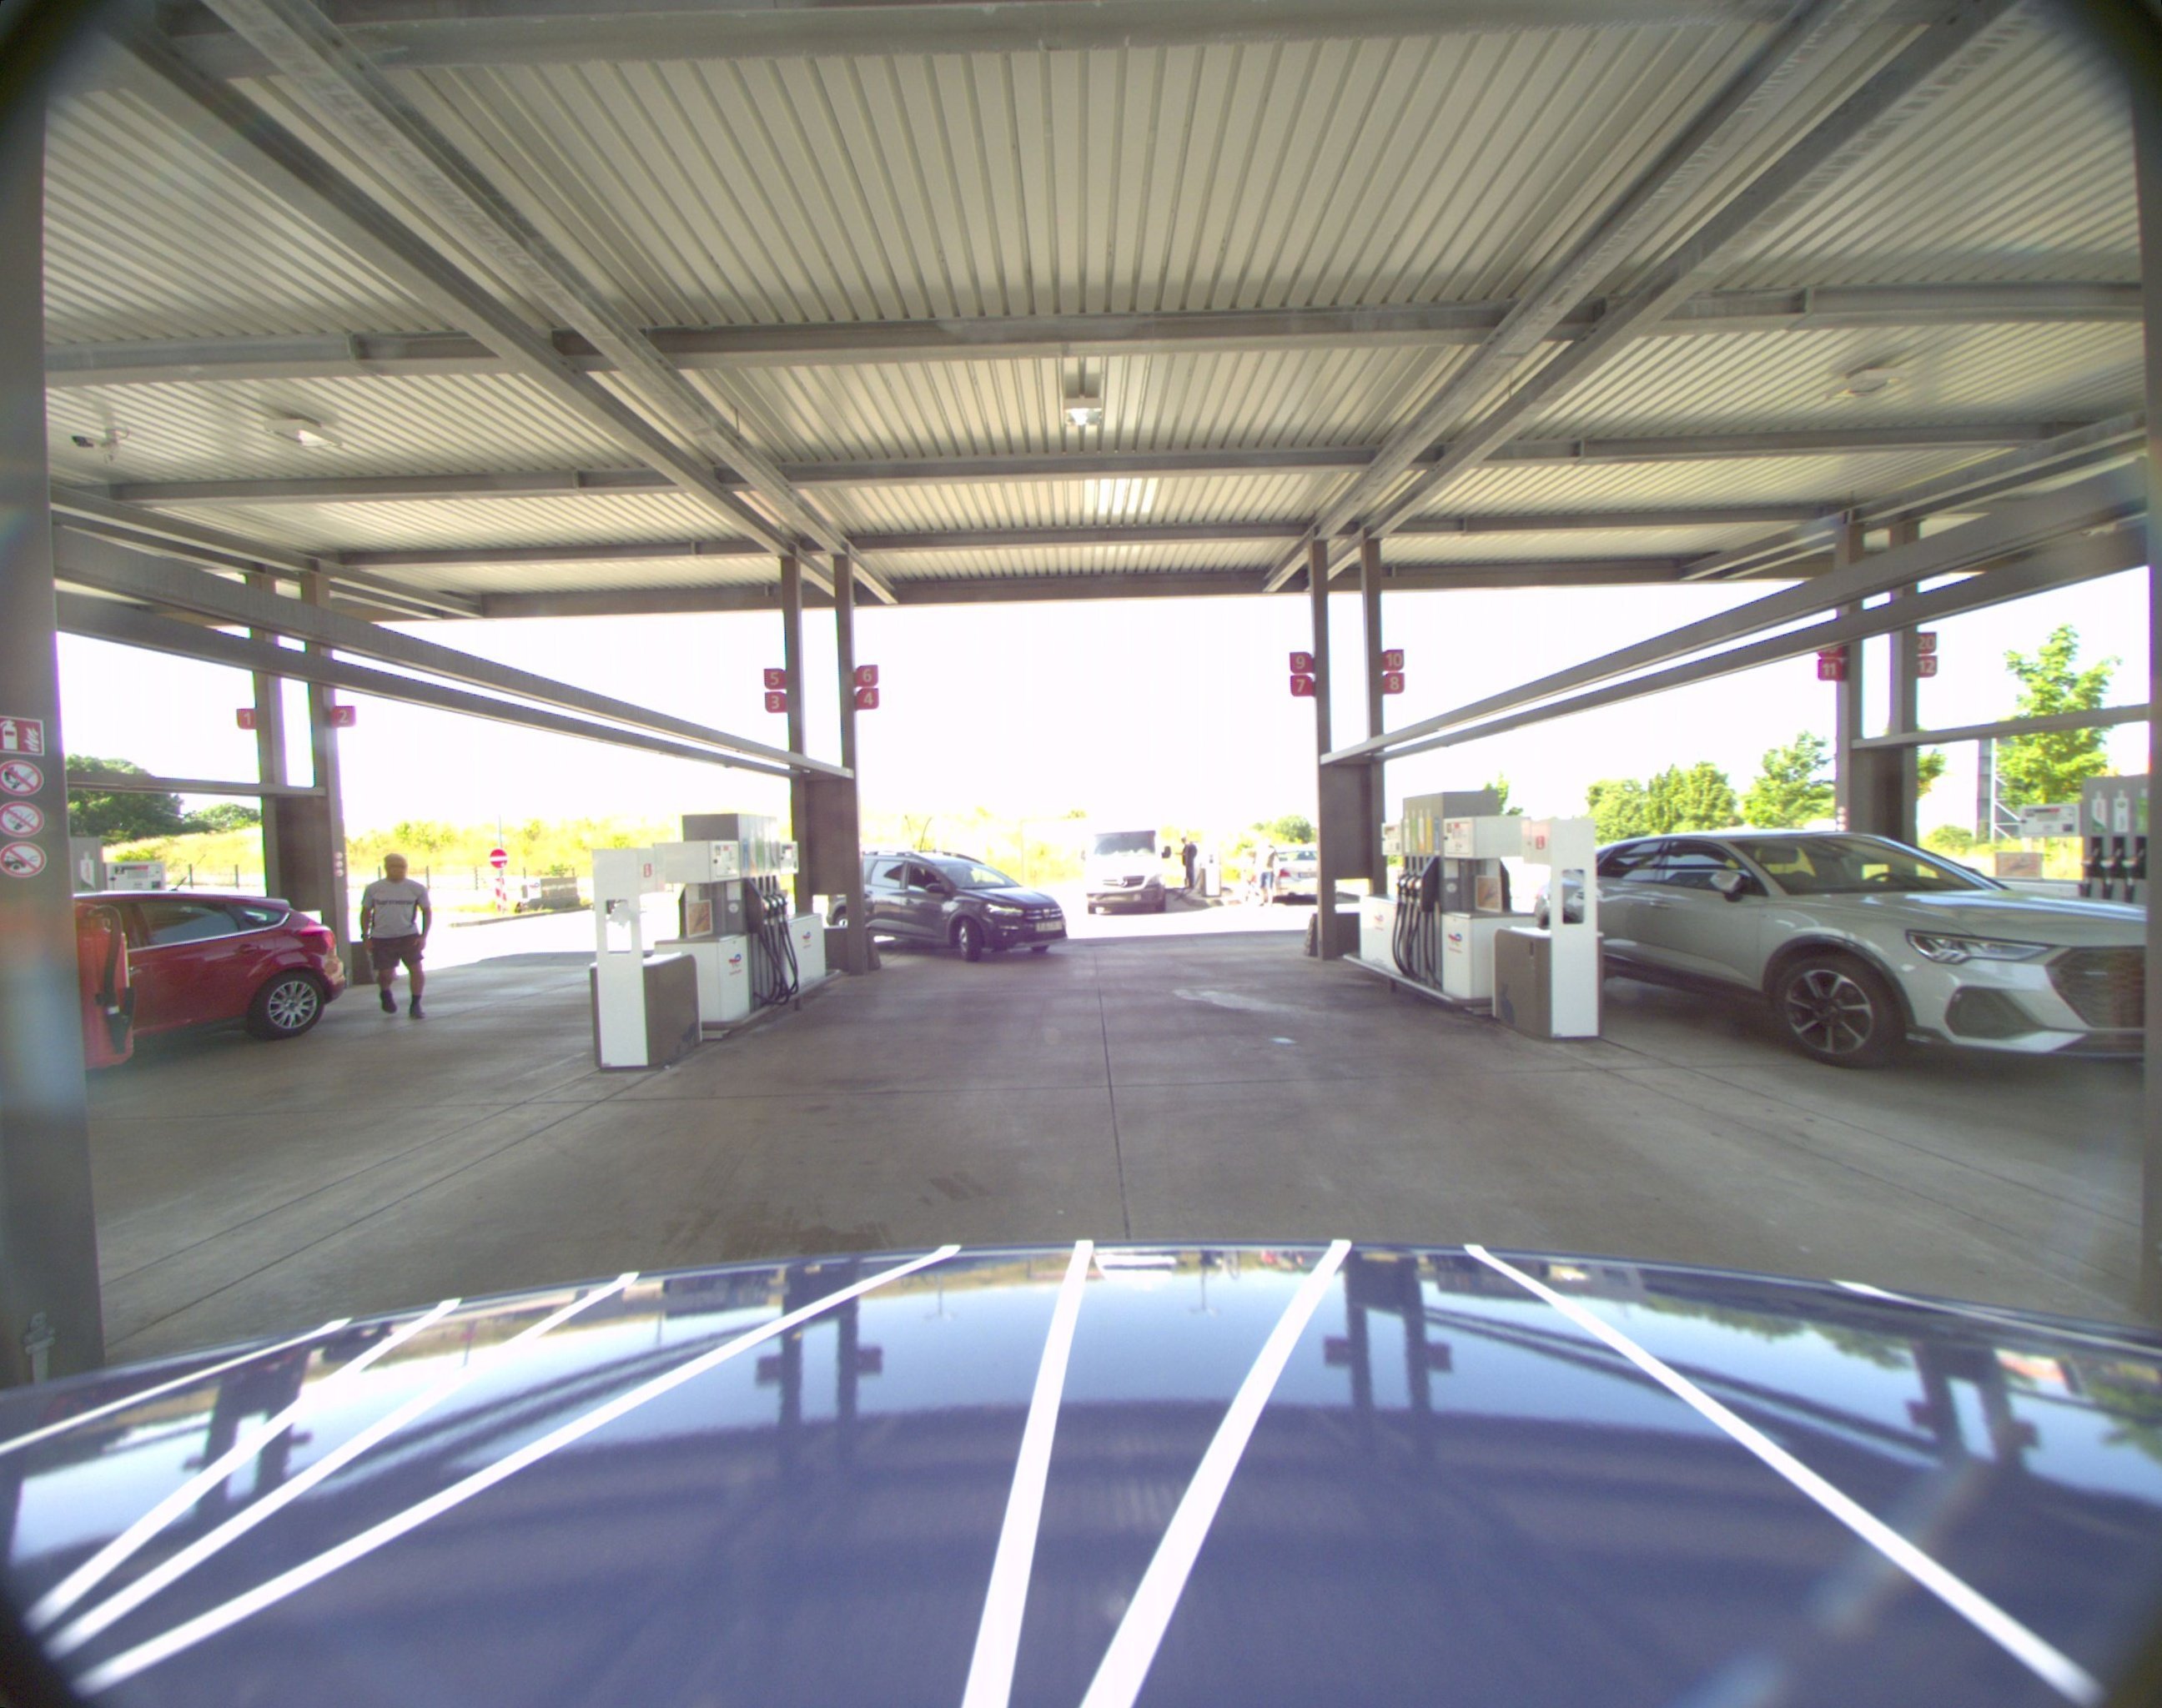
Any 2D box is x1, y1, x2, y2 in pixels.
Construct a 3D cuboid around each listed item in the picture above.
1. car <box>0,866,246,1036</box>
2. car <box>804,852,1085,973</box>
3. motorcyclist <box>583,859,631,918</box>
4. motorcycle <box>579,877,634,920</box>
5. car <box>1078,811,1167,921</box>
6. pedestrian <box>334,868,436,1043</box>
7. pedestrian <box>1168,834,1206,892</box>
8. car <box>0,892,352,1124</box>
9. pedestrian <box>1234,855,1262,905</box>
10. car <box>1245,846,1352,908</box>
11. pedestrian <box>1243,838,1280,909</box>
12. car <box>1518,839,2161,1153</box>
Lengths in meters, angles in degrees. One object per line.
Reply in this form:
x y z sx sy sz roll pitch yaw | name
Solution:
-13.036 1.093 9.001 2.036 1.840 4.791 -1 0 -17 | car
-2.349 0.845 12.476 4.619 1.635 1.747 -1 1 35 | car
-14.195 0.997 22.777 1.036 1.678 1.096 -2 1 -24 | motorcyclist
-14.231 1.297 22.858 1.047 1.099 2.410 -2 2 -24 | motorcycle
1.375 0.119 21.365 1.997 2.557 7.031 -1 3 7 | car
-7.334 1.007 8.039 0.705 1.693 0.925 -2 1 -41 | pedestrian
3.292 0.265 23.586 0.710 1.759 0.843 -3 1 -43 | pedestrian
-8.356 1.161 5.660 1.703 1.460 4.232 -2 0 0 | car
4.424 0.679 20.140 0.577 1.299 0.669 -2 1 3 | pedestrian
5.899 0.563 21.105 1.792 1.420 4.321 -2 2 1 | car
4.537 0.472 19.146 0.708 1.739 0.845 -2 1 3 | pedestrian
5.556 0.691 5.957 1.784 1.532 4.325 -2 1 1 | car
